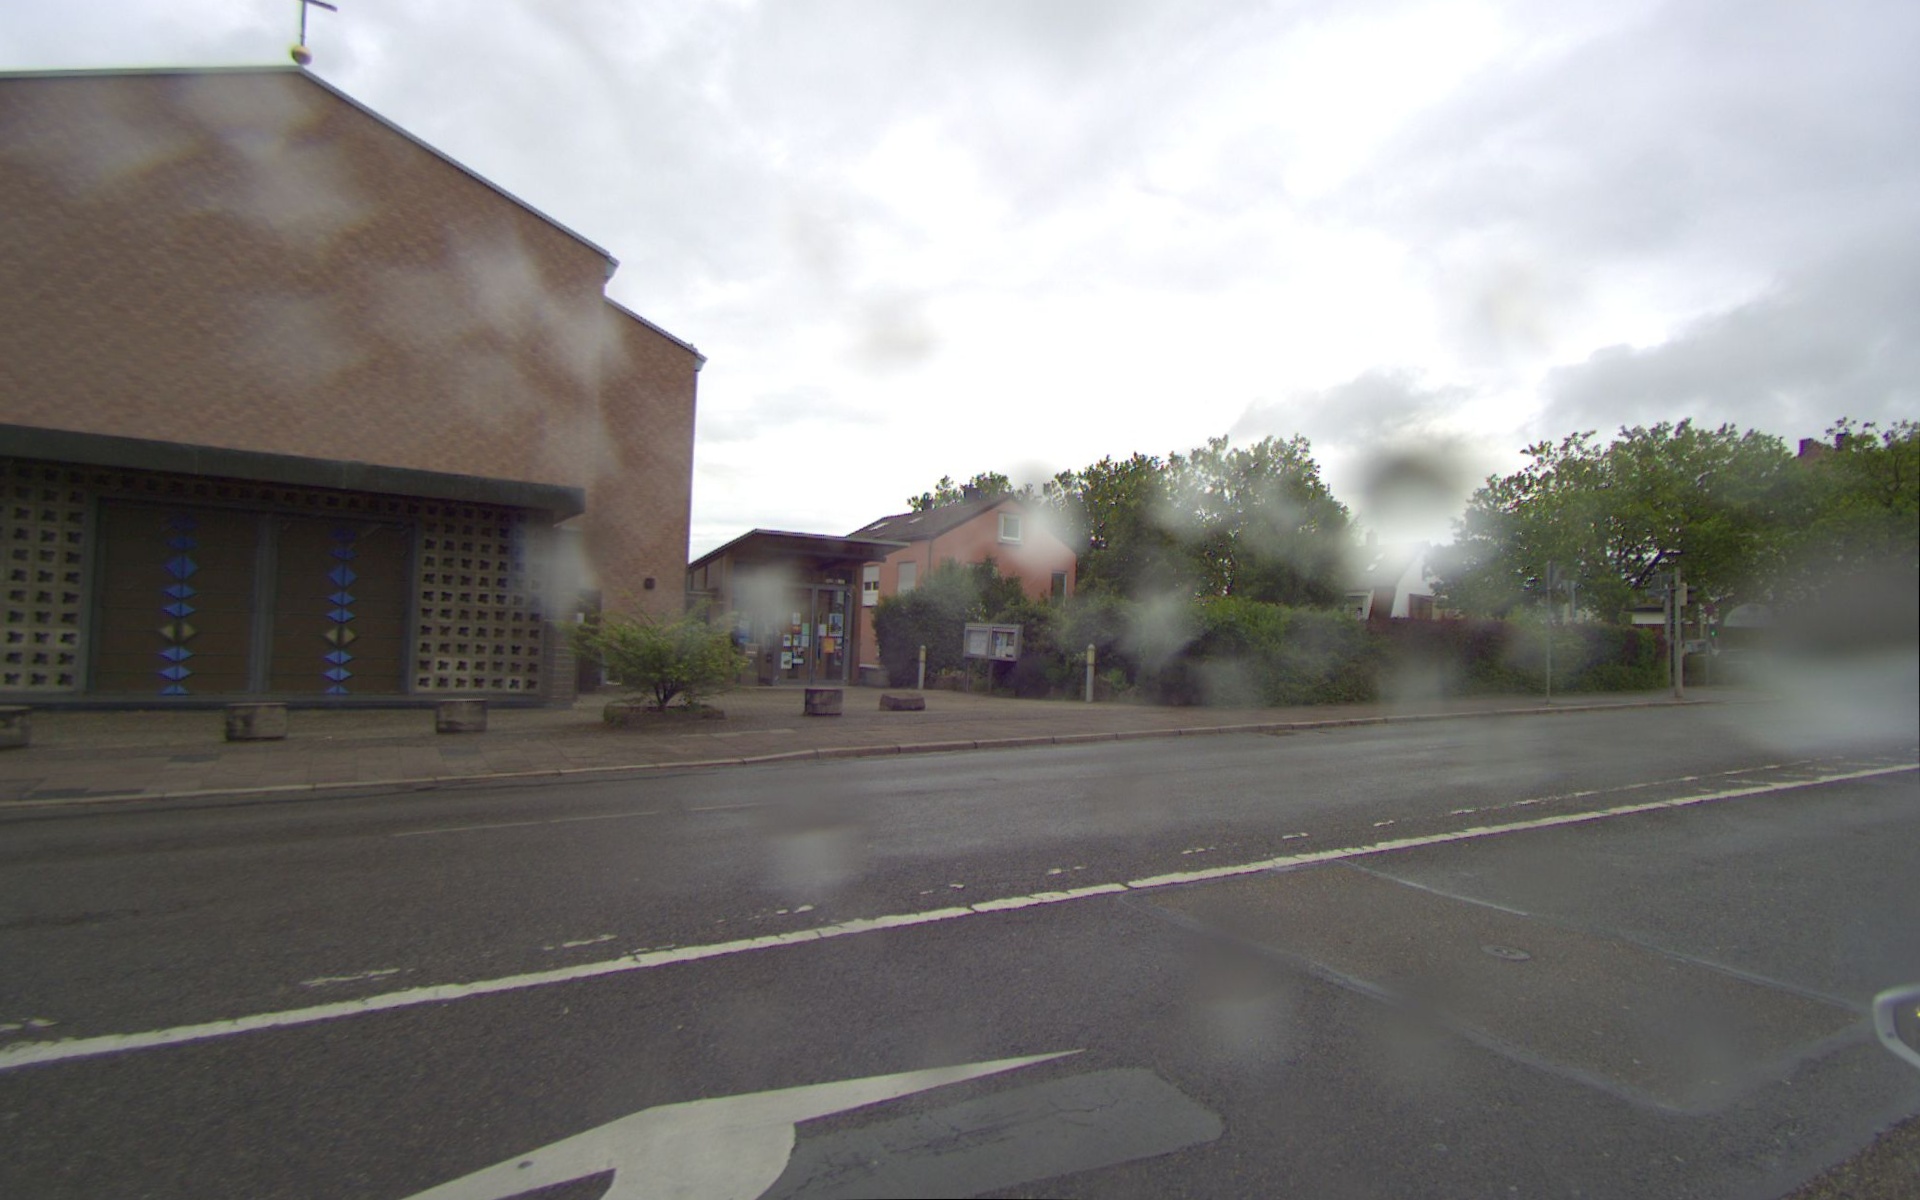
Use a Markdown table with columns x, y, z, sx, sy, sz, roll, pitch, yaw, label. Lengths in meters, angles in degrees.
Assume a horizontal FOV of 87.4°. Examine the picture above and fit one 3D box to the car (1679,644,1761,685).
| x | y | z | sx | sy | sz | roll | pitch | yaw | label |
| --- | --- | --- | --- | --- | --- | --- | --- | --- | --- |
| 35.802 | 3.016 | 47.309 | 3.955 | 1.573 | 1.798 | -2 | 2 | -32 | car |
